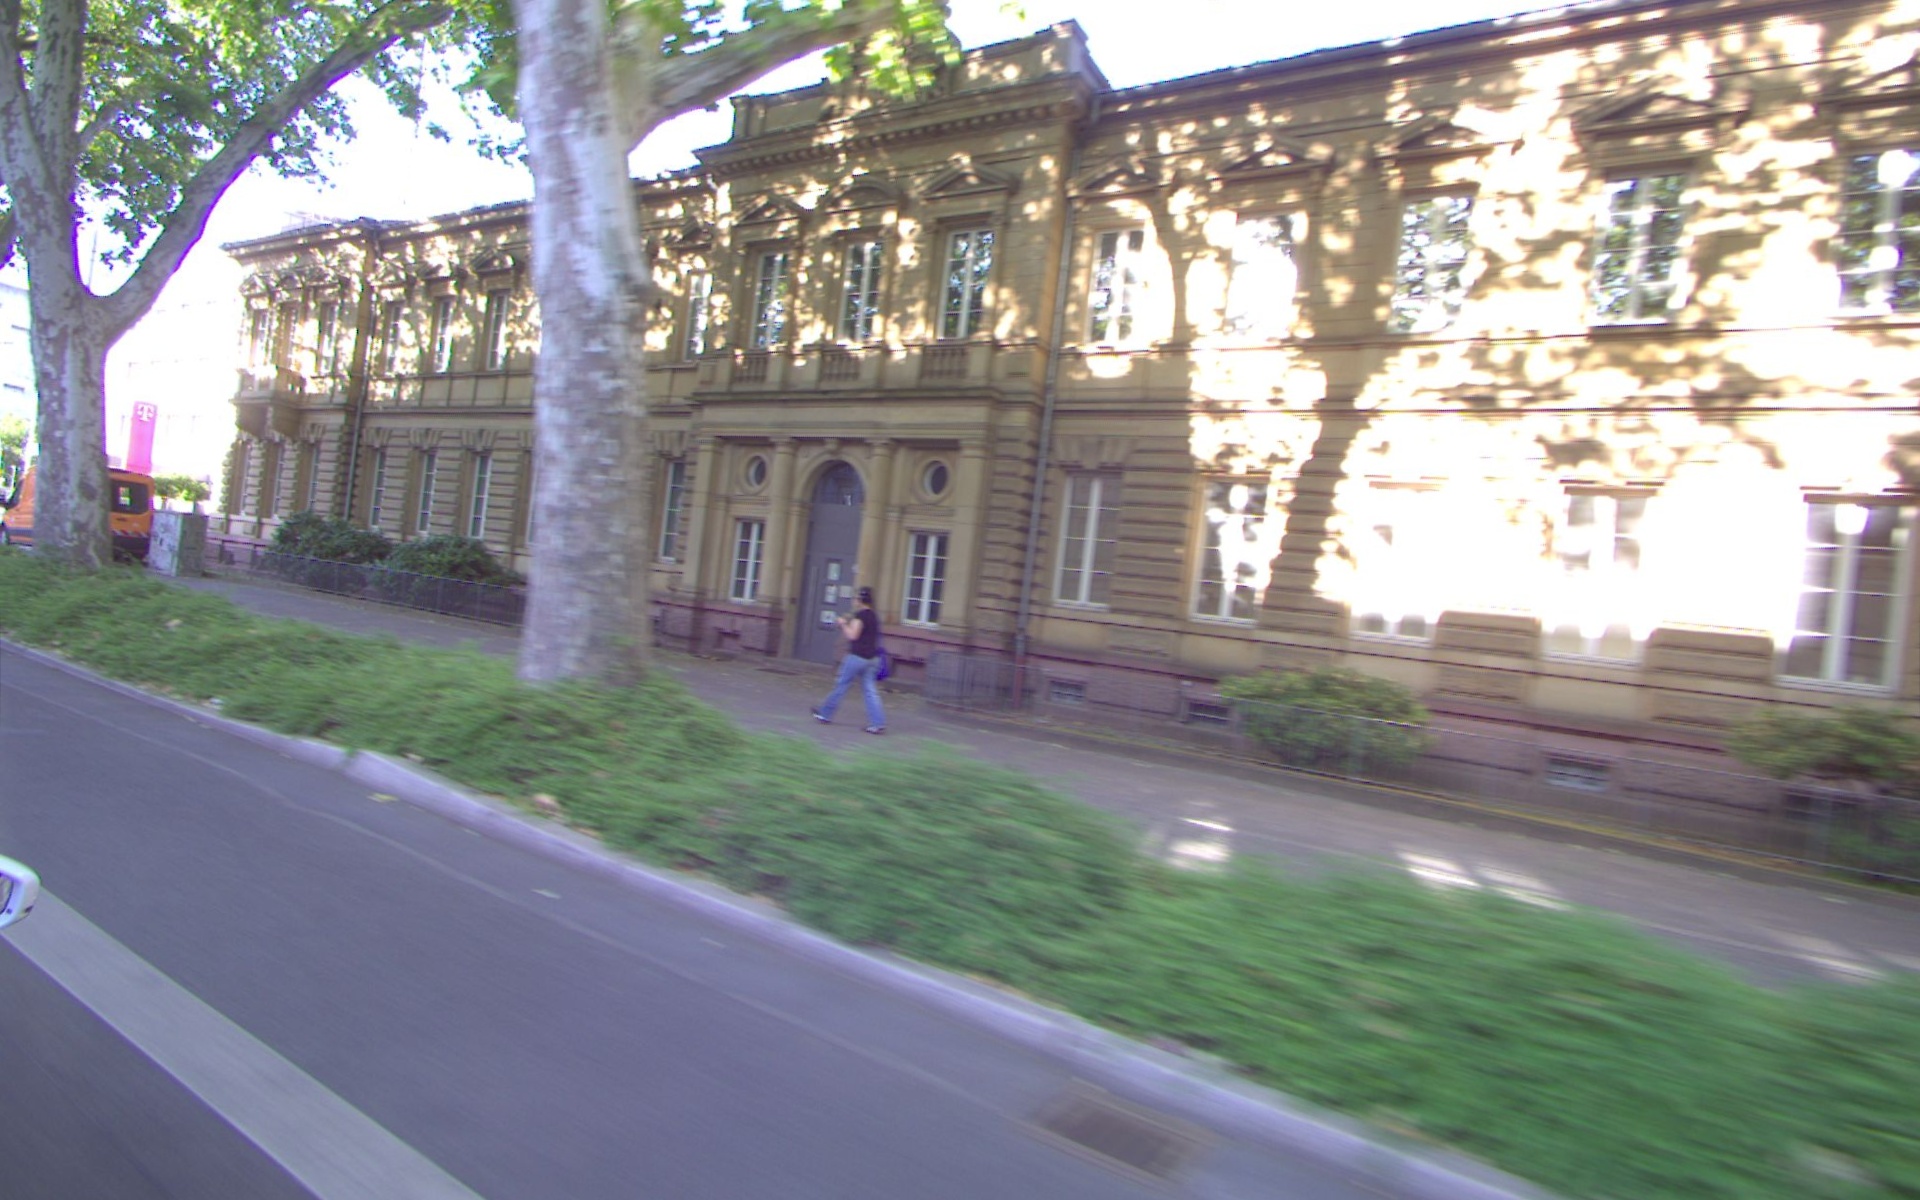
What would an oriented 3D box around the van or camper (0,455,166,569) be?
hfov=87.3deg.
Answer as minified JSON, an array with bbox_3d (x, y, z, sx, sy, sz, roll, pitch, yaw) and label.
[{"bbox_3d":[-23.683,-2.384,26.972,5.025,2.492,2.031,6,-2,33],"label":"van or camper"}]

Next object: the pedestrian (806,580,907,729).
[{"bbox_3d":[-1.251,0.644,12.091,0.645,1.652,0.862,9,-2,-40],"label":"pedestrian"}]
